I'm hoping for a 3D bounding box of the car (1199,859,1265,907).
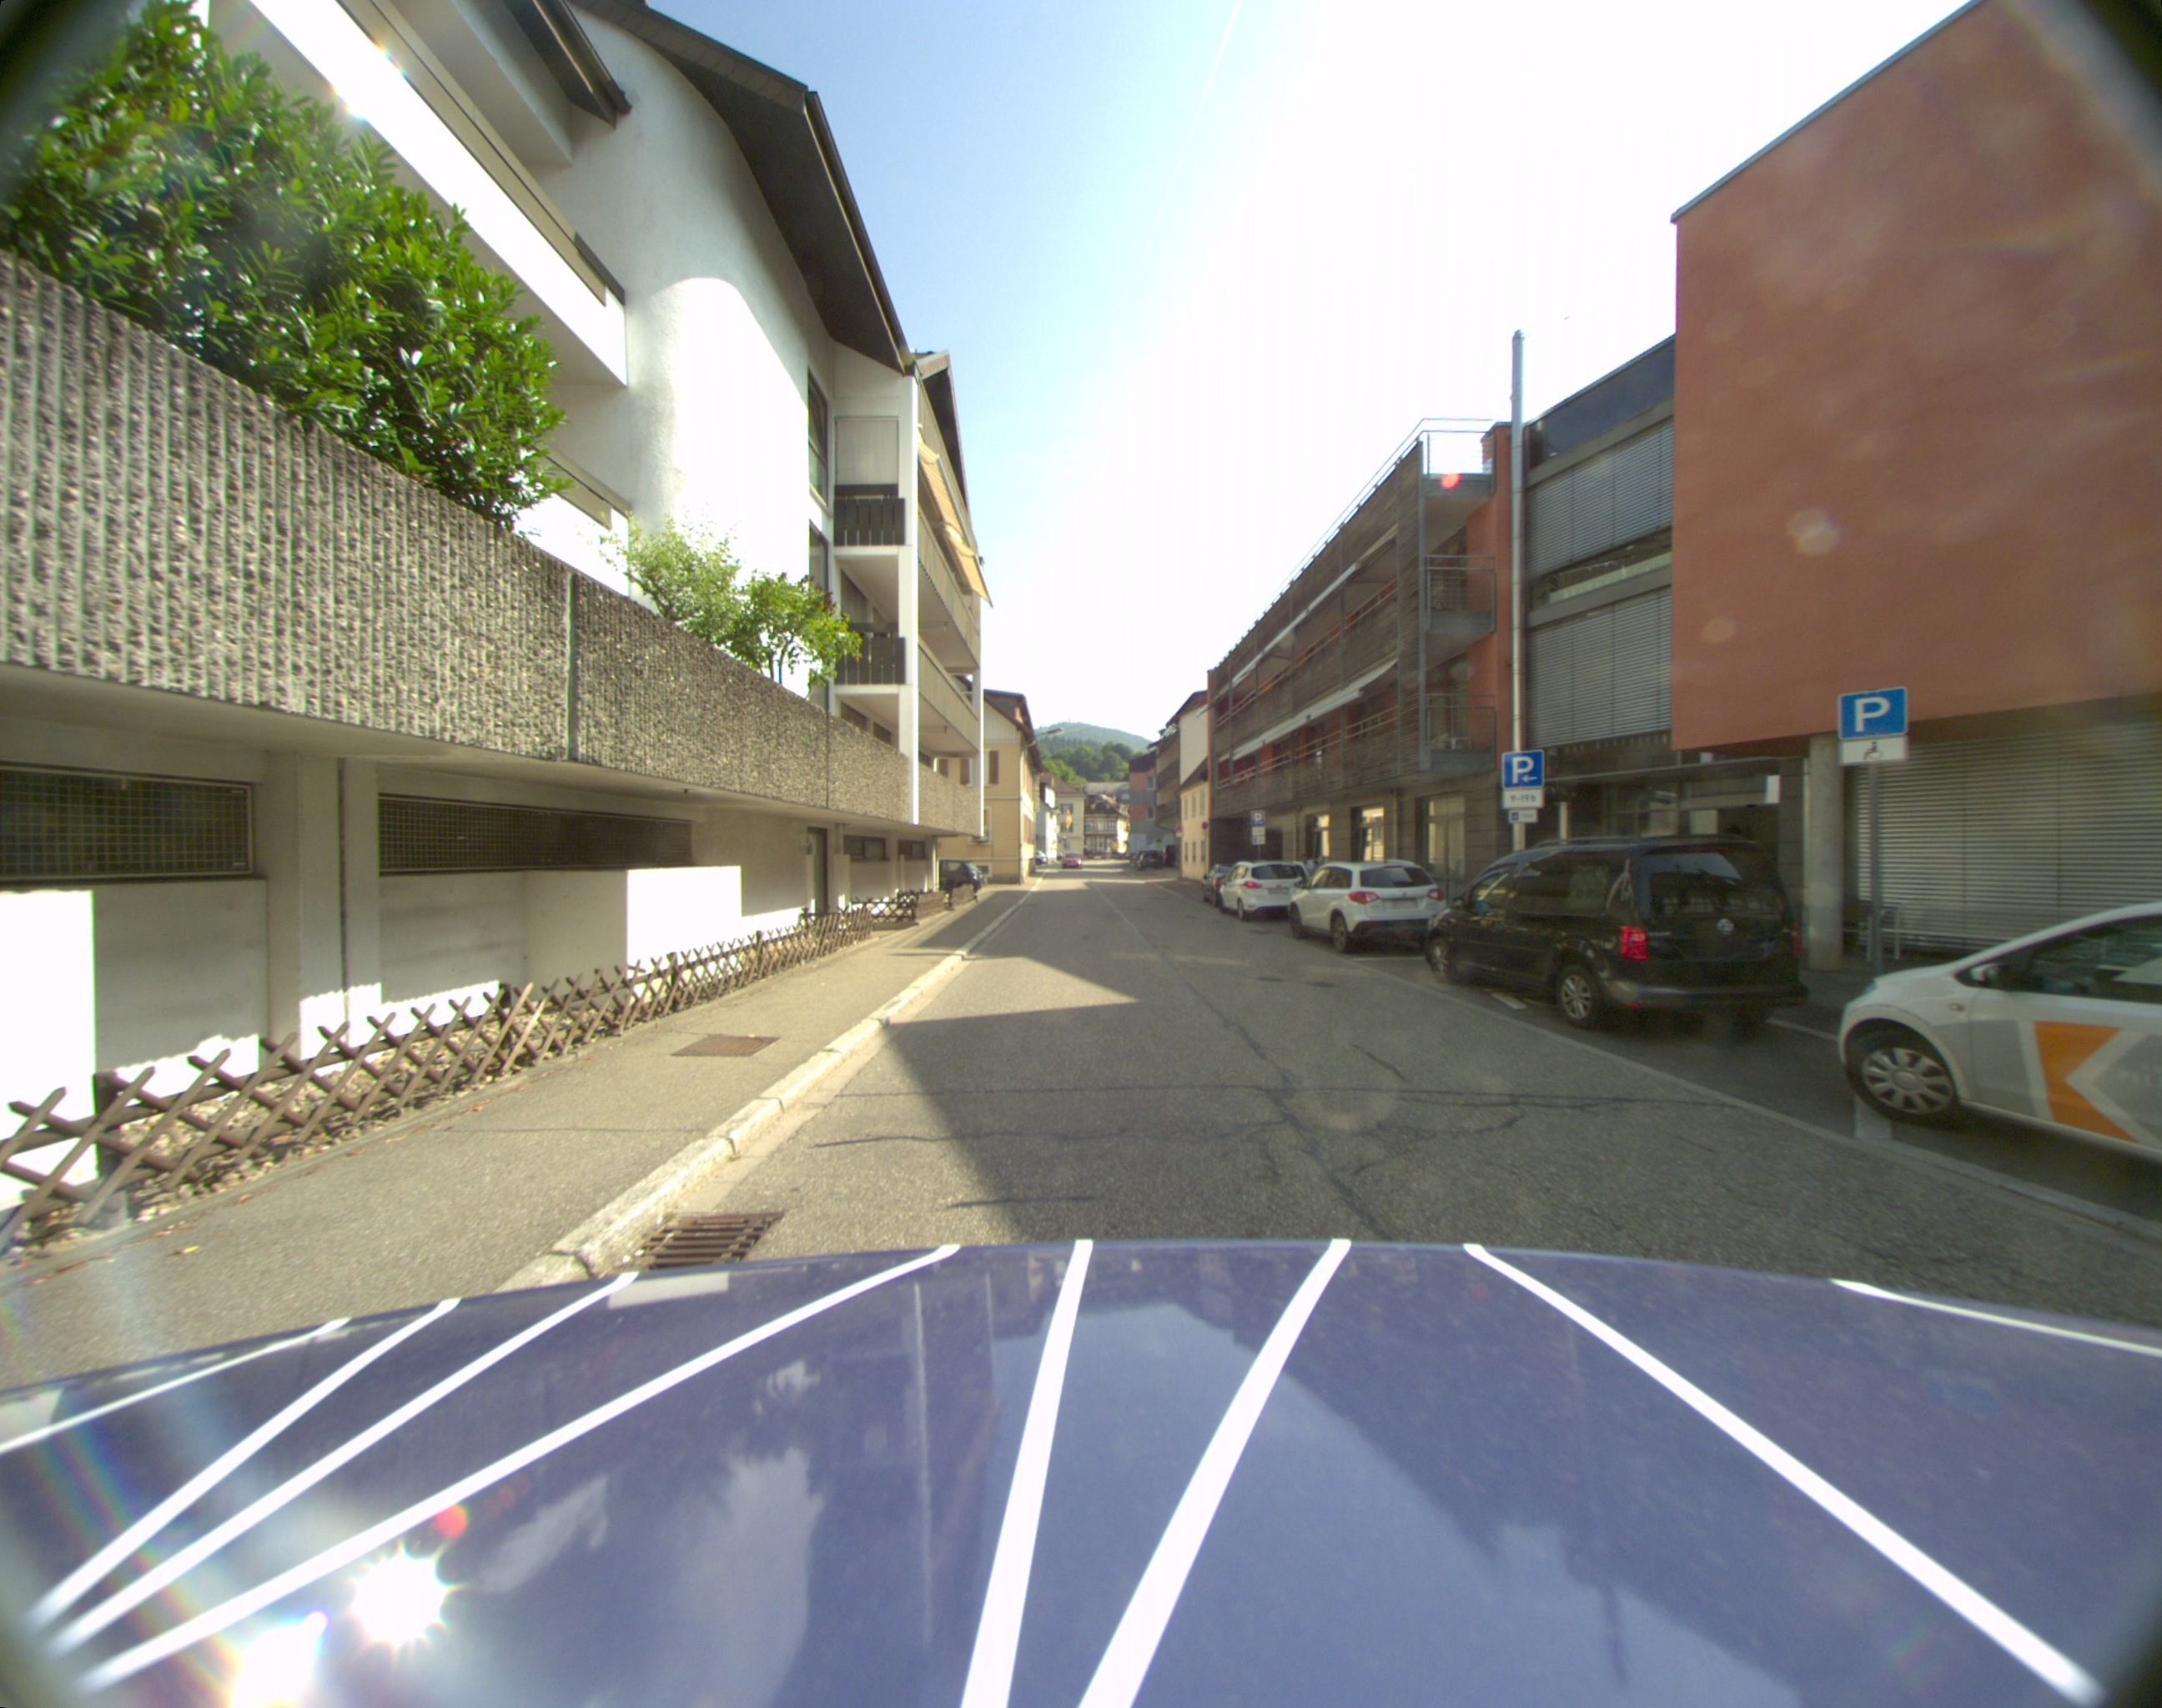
[{"bbox_3d":[5.092,0.947,26.040,1.553,1.408,3.593,-2,1,1],"label":"car"}]

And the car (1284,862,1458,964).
[{"bbox_3d":[5.218,0.976,14.251,1.679,1.580,3.949,-1,0,-1],"label":"car"}]

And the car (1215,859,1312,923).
[{"bbox_3d":[4.939,0.939,21.004,1.678,1.546,3.764,-1,0,-1],"label":"car"}]

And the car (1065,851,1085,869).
[{"bbox_3d":[-0.569,0.537,70.800,1.822,1.652,3.999,0,0,-1],"label":"car"}]

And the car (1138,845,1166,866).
[{"bbox_3d":[5.811,0.135,62.566,1.787,1.566,3.888,-3,0,-1],"label":"car"}]

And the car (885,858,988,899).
[{"bbox_3d":[-5.793,0.974,30.764,3.837,1.470,1.700,-2,0,-2],"label":"car"}]

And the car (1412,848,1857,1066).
[{"bbox_3d":[5.527,0.848,8.429,1.725,1.786,4.268,0,0,-2],"label":"car"}]

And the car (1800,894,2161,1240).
[{"bbox_3d":[5.632,0.985,3.288,1.670,1.423,3.569,-2,-1,1],"label":"car"}]

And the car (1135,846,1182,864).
[{"bbox_3d":[7.226,0.089,70.782,4.000,1.673,1.834,0,-1,-8],"label":"car"}]
